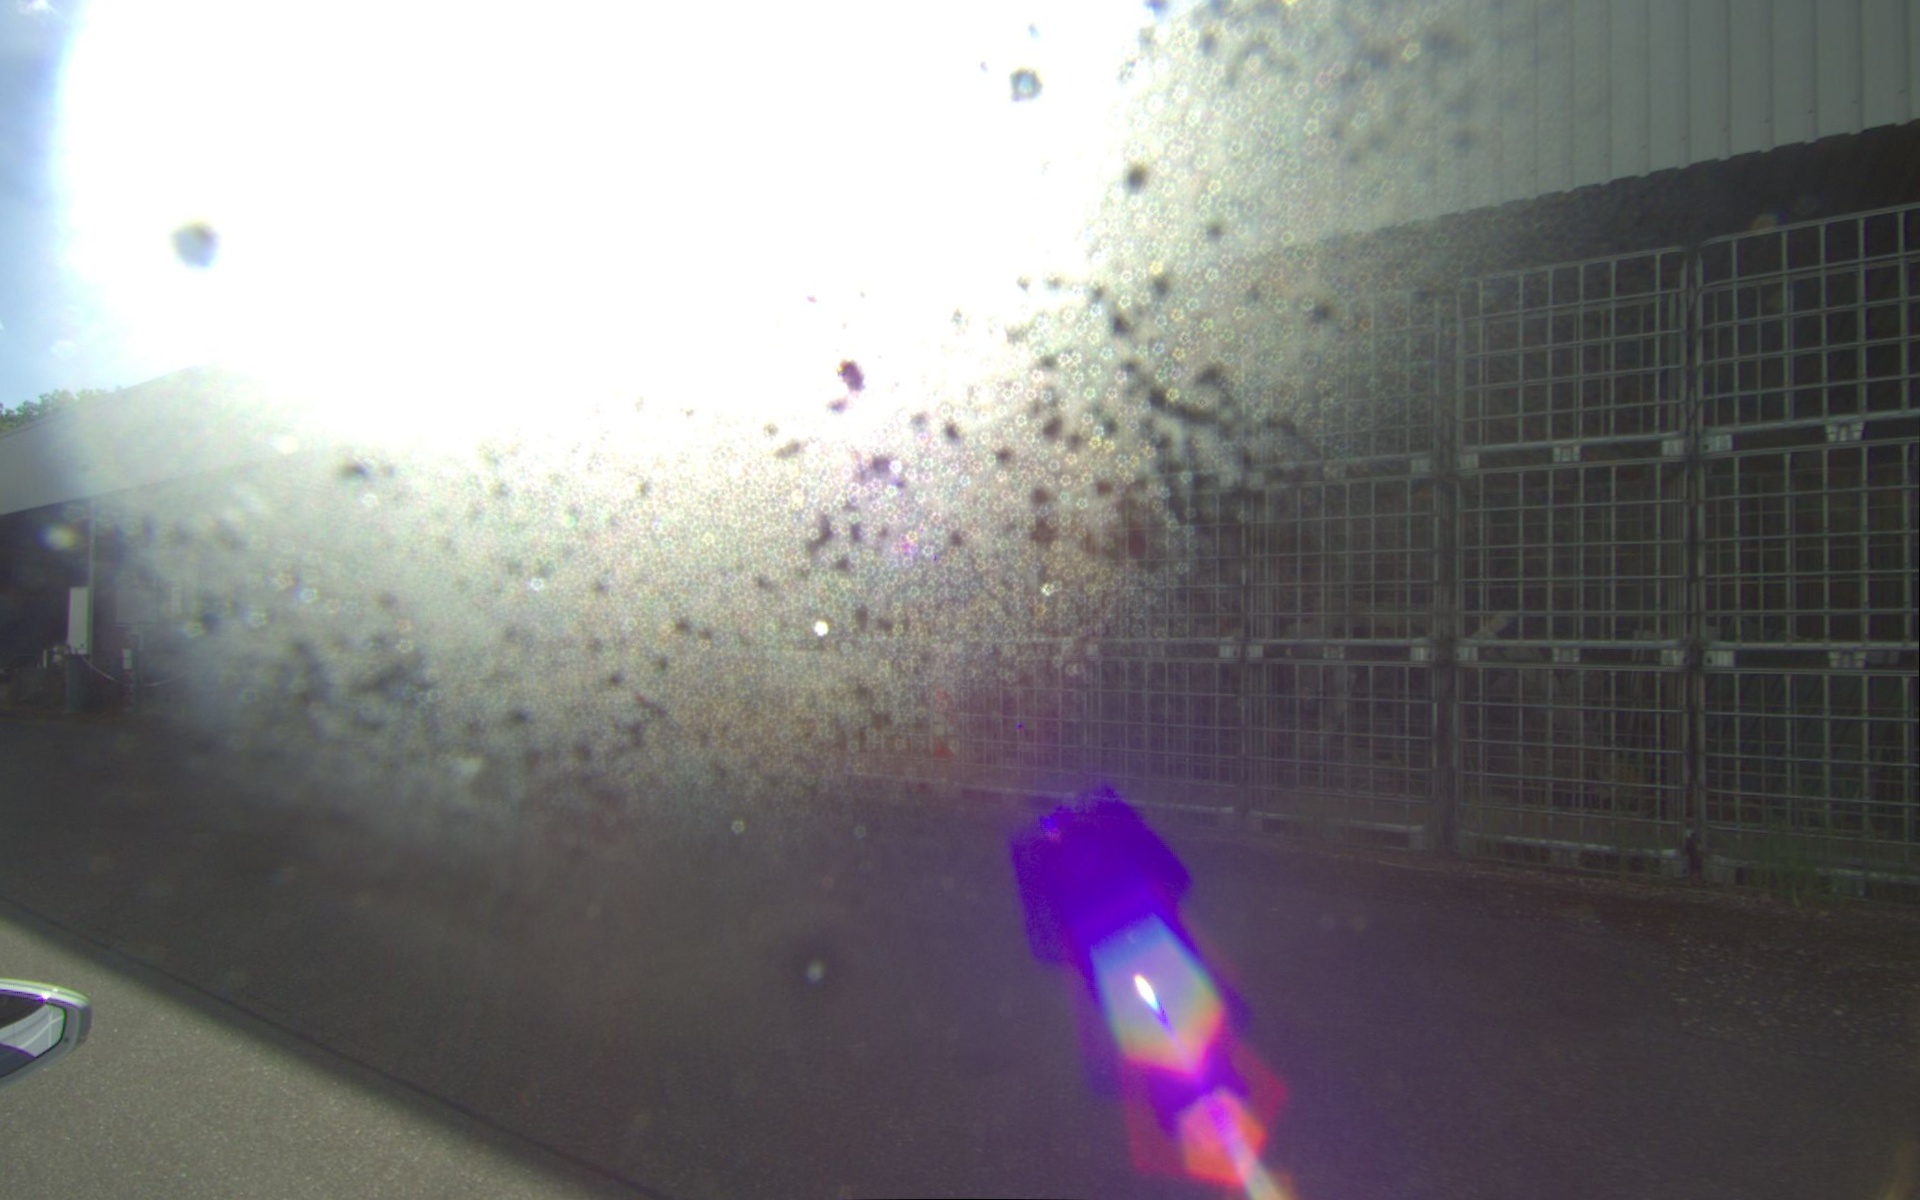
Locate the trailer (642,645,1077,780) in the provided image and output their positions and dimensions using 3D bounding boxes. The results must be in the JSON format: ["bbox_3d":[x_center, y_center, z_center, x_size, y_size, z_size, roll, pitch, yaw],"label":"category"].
[{"bbox_3d":[-0.775,1.136,11.941,2.110,1.147,5.840,0,-2,31],"label":"trailer"}]

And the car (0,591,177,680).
[{"bbox_3d":[-25.480,1.100,28.667,1.890,2.336,4.426,-3,-5,34],"label":"car"}]

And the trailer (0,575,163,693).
[{"bbox_3d":[-19.436,0.773,22.061,1.703,2.428,2.518,-2,-3,34],"label":"trailer"}]

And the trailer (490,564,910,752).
[{"bbox_3d":[-3.242,0.741,13.953,2.049,2.058,5.754,0,-2,34],"label":"trailer"}]

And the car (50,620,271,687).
[{"bbox_3d":[-20.026,1.405,25.260,1.662,1.542,4.032,-3,-6,34],"label":"car"}]
